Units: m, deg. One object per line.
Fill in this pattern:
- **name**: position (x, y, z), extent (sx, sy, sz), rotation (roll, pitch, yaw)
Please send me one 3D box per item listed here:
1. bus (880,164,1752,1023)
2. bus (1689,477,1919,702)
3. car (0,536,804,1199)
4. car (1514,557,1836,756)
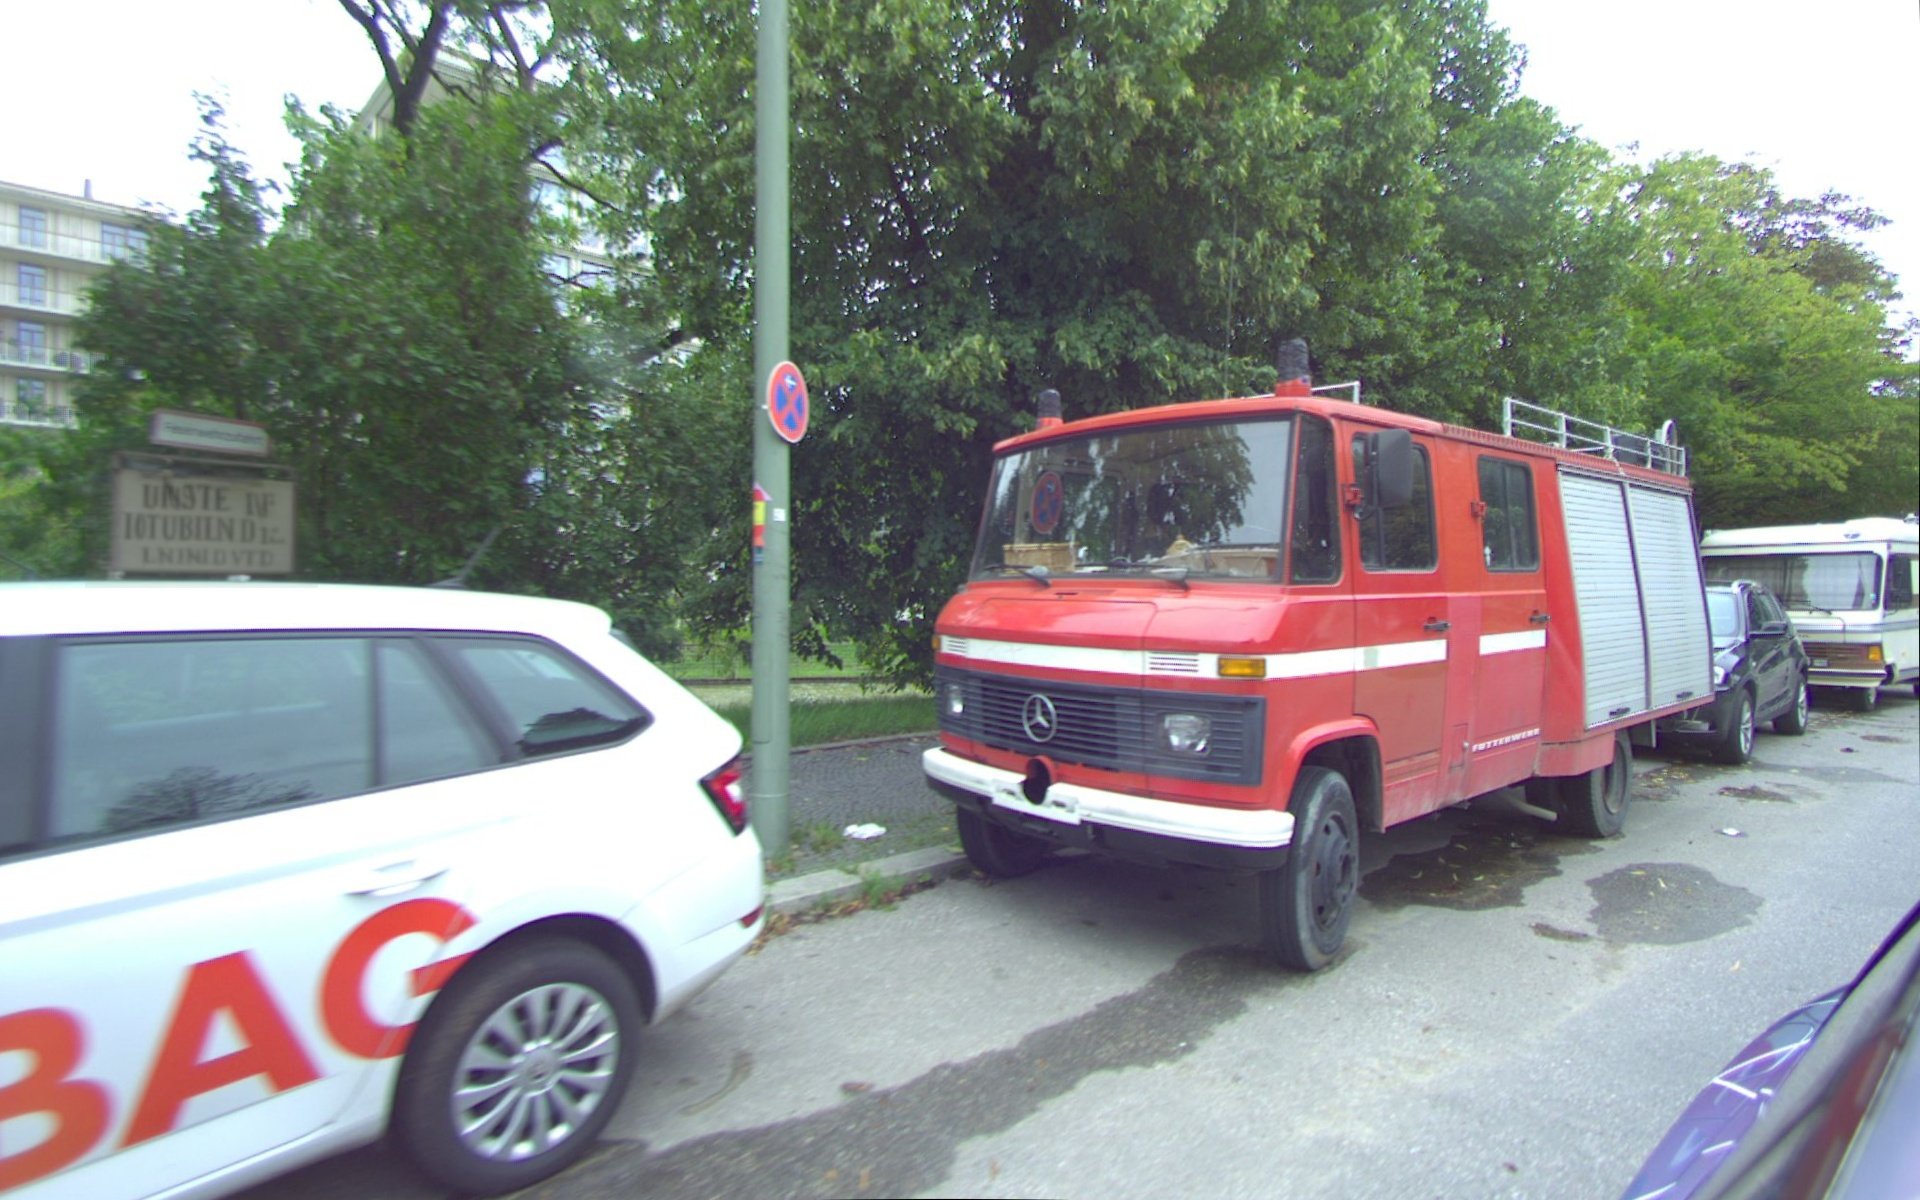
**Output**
- **bus**: position (2.640, -0.043, 6.111), extent (6.159, 2.840, 2.077), rotation (0, 0, -39)
- **bus**: position (13.117, -0.147, 14.901), extent (5.754, 2.764, 2.080), rotation (0, 0, -35)
- **car**: position (-2.400, 0.637, 2.164), extent (1.532, 1.510, 3.997), rotation (1, 2, 44)
- **car**: position (7.559, 0.468, 10.533), extent (4.321, 1.660, 1.781), rotation (0, 0, -41)
